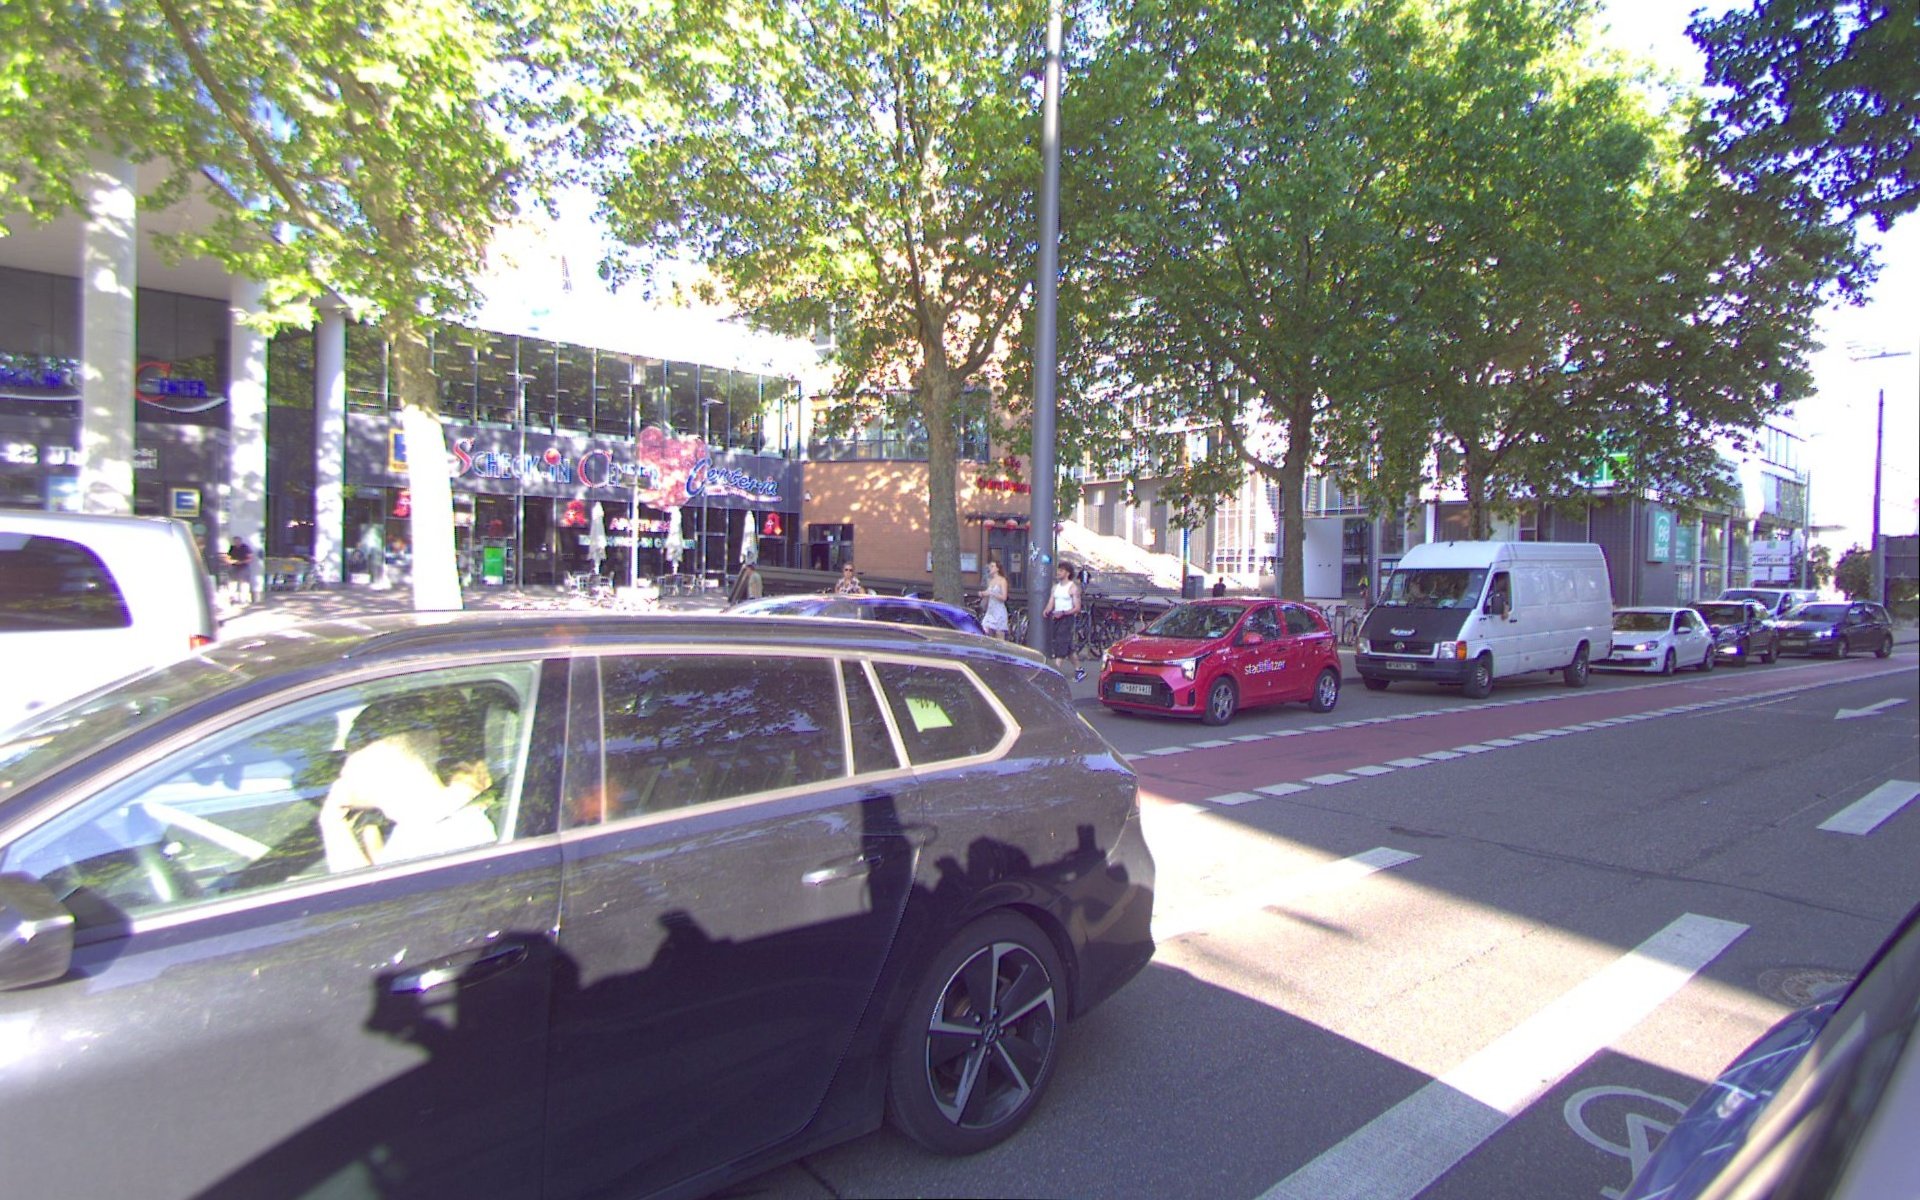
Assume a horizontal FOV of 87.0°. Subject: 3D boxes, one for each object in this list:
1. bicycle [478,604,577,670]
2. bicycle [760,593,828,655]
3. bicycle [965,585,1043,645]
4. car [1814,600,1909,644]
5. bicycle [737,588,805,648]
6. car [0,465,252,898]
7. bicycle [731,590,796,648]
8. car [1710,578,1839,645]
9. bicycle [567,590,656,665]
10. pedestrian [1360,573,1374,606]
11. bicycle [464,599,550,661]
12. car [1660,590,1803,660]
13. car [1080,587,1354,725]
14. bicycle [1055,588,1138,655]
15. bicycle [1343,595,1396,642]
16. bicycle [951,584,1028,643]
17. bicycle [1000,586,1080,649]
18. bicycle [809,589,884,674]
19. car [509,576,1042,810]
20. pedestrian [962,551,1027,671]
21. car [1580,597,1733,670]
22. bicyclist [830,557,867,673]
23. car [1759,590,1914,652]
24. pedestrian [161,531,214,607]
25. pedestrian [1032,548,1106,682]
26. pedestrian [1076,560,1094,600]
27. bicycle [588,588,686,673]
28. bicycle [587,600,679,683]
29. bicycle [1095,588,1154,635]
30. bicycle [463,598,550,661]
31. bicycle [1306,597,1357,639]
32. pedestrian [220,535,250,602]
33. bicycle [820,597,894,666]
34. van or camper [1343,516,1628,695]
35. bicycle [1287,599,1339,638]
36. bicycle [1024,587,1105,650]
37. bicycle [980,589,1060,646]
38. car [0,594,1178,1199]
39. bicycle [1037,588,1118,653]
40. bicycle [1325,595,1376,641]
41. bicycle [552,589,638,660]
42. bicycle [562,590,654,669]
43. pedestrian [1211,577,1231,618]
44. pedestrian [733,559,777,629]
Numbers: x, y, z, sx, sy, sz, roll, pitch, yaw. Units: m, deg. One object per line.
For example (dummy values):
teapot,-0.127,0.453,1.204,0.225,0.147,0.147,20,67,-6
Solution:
bicycle,-6.231,0.515,14.605,1.231,0.898,0.462,0,1,-40
bicycle,-3.085,0.440,18.865,1.202,1.110,0.427,0,1,-40
bicycle,0.942,0.292,21.357,1.818,1.209,0.458,0,1,-41
car,31.630,0.729,35.475,3.927,1.394,1.802,0,2,-38
bicycle,-3.636,0.340,19.514,1.202,1.110,0.444,0,1,-40
car,-6.223,0.349,4.384,5.008,2.004,1.940,0,2,-41
bicycle,-3.881,0.369,20.058,1.202,1.110,0.429,0,1,-40
car,26.508,0.338,32.891,4.863,2.020,1.968,0,1,-35
bicycle,-5.353,0.402,15.597,0.372,1.110,1.269,2,1,41
pedestrian,27.653,-0.724,68.765,0.826,2.183,0.852,2,1,26
bicycle,-7.114,0.459,15.929,1.198,0.938,0.465,1,1,-22
car,19.710,0.585,25.805,4.148,1.640,1.819,0,1,-36
car,3.334,0.604,12.808,3.588,1.476,1.605,0,1,-41
bicycle,2.628,0.394,19.374,1.818,1.209,0.481,0,1,-41
bicycle,11.039,0.473,27.242,1.818,1.209,0.521,0,2,-41
bicycle,0.643,0.267,21.710,1.818,1.209,0.434,0,1,-41
bicycle,1.635,0.335,20.529,1.818,1.209,0.447,0,1,-41
bicycle,-1.764,0.478,15.777,1.126,1.271,0.379,0,1,-41
car,-1.391,0.590,8.644,4.177,1.503,1.742,0,2,-41
pedestrian,0.532,0.153,15.568,0.646,1.799,0.752,2,1,43
car,15.298,0.673,22.181,3.927,1.446,1.683,0,1,-38
bicyclist,-1.736,0.225,15.758,0.392,1.782,0.390,0,1,-41
car,25.285,0.574,29.190,4.242,1.640,1.970,0,1,-28
pedestrian,-18.687,-0.759,24.485,0.873,1.805,0.601,1,1,12
pedestrian,1.601,0.201,14.810,0.640,1.867,0.803,6,4,35
pedestrian,6.584,-1.042,53.437,0.861,2.062,0.585,1,1,6
bicycle,-4.428,0.395,13.893,1.202,1.110,0.413,0,1,-40
bicycle,-4.573,0.561,14.190,1.202,1.110,0.269,0,1,-40
bicycle,4.407,0.301,27.063,1.759,1.209,0.517,0,2,-41
bicycle,-6.952,0.450,15.552,1.198,0.930,0.442,1,1,-22
bicycle,10.315,0.490,28.053,1.766,1.108,0.522,0,2,-41
pedestrian,-18.758,-0.802,26.187,0.506,1.707,0.604,1,1,-23
bicycle,-1.738,0.515,17.100,1.202,1.110,0.420,0,1,-40
van or camper,9.311,0.064,17.581,6.456,2.611,1.998,0,0,-39
bicycle,9.932,0.501,28.463,1.818,1.046,0.515,0,2,-41
bicycle,2.117,0.358,20.268,1.818,1.209,0.484,0,1,-41
bicycle,1.262,0.347,20.978,1.818,1.139,0.484,0,2,-41
car,-1.464,0.704,2.435,4.196,1.432,1.742,0,0,-41
bicycle,2.305,0.384,19.759,1.818,1.209,0.448,0,1,-41
bicycle,10.671,0.480,27.641,1.818,1.209,0.495,0,2,-41
bicycle,-5.900,0.377,16.405,0.414,1.110,1.269,2,1,41
bicycle,-5.150,0.420,14.849,1.202,1.110,0.396,0,1,-40
pedestrian,10.227,-0.105,39.693,0.707,1.578,0.638,1,1,14
pedestrian,-5.170,-0.157,25.521,0.797,1.728,0.713,1,1,22
